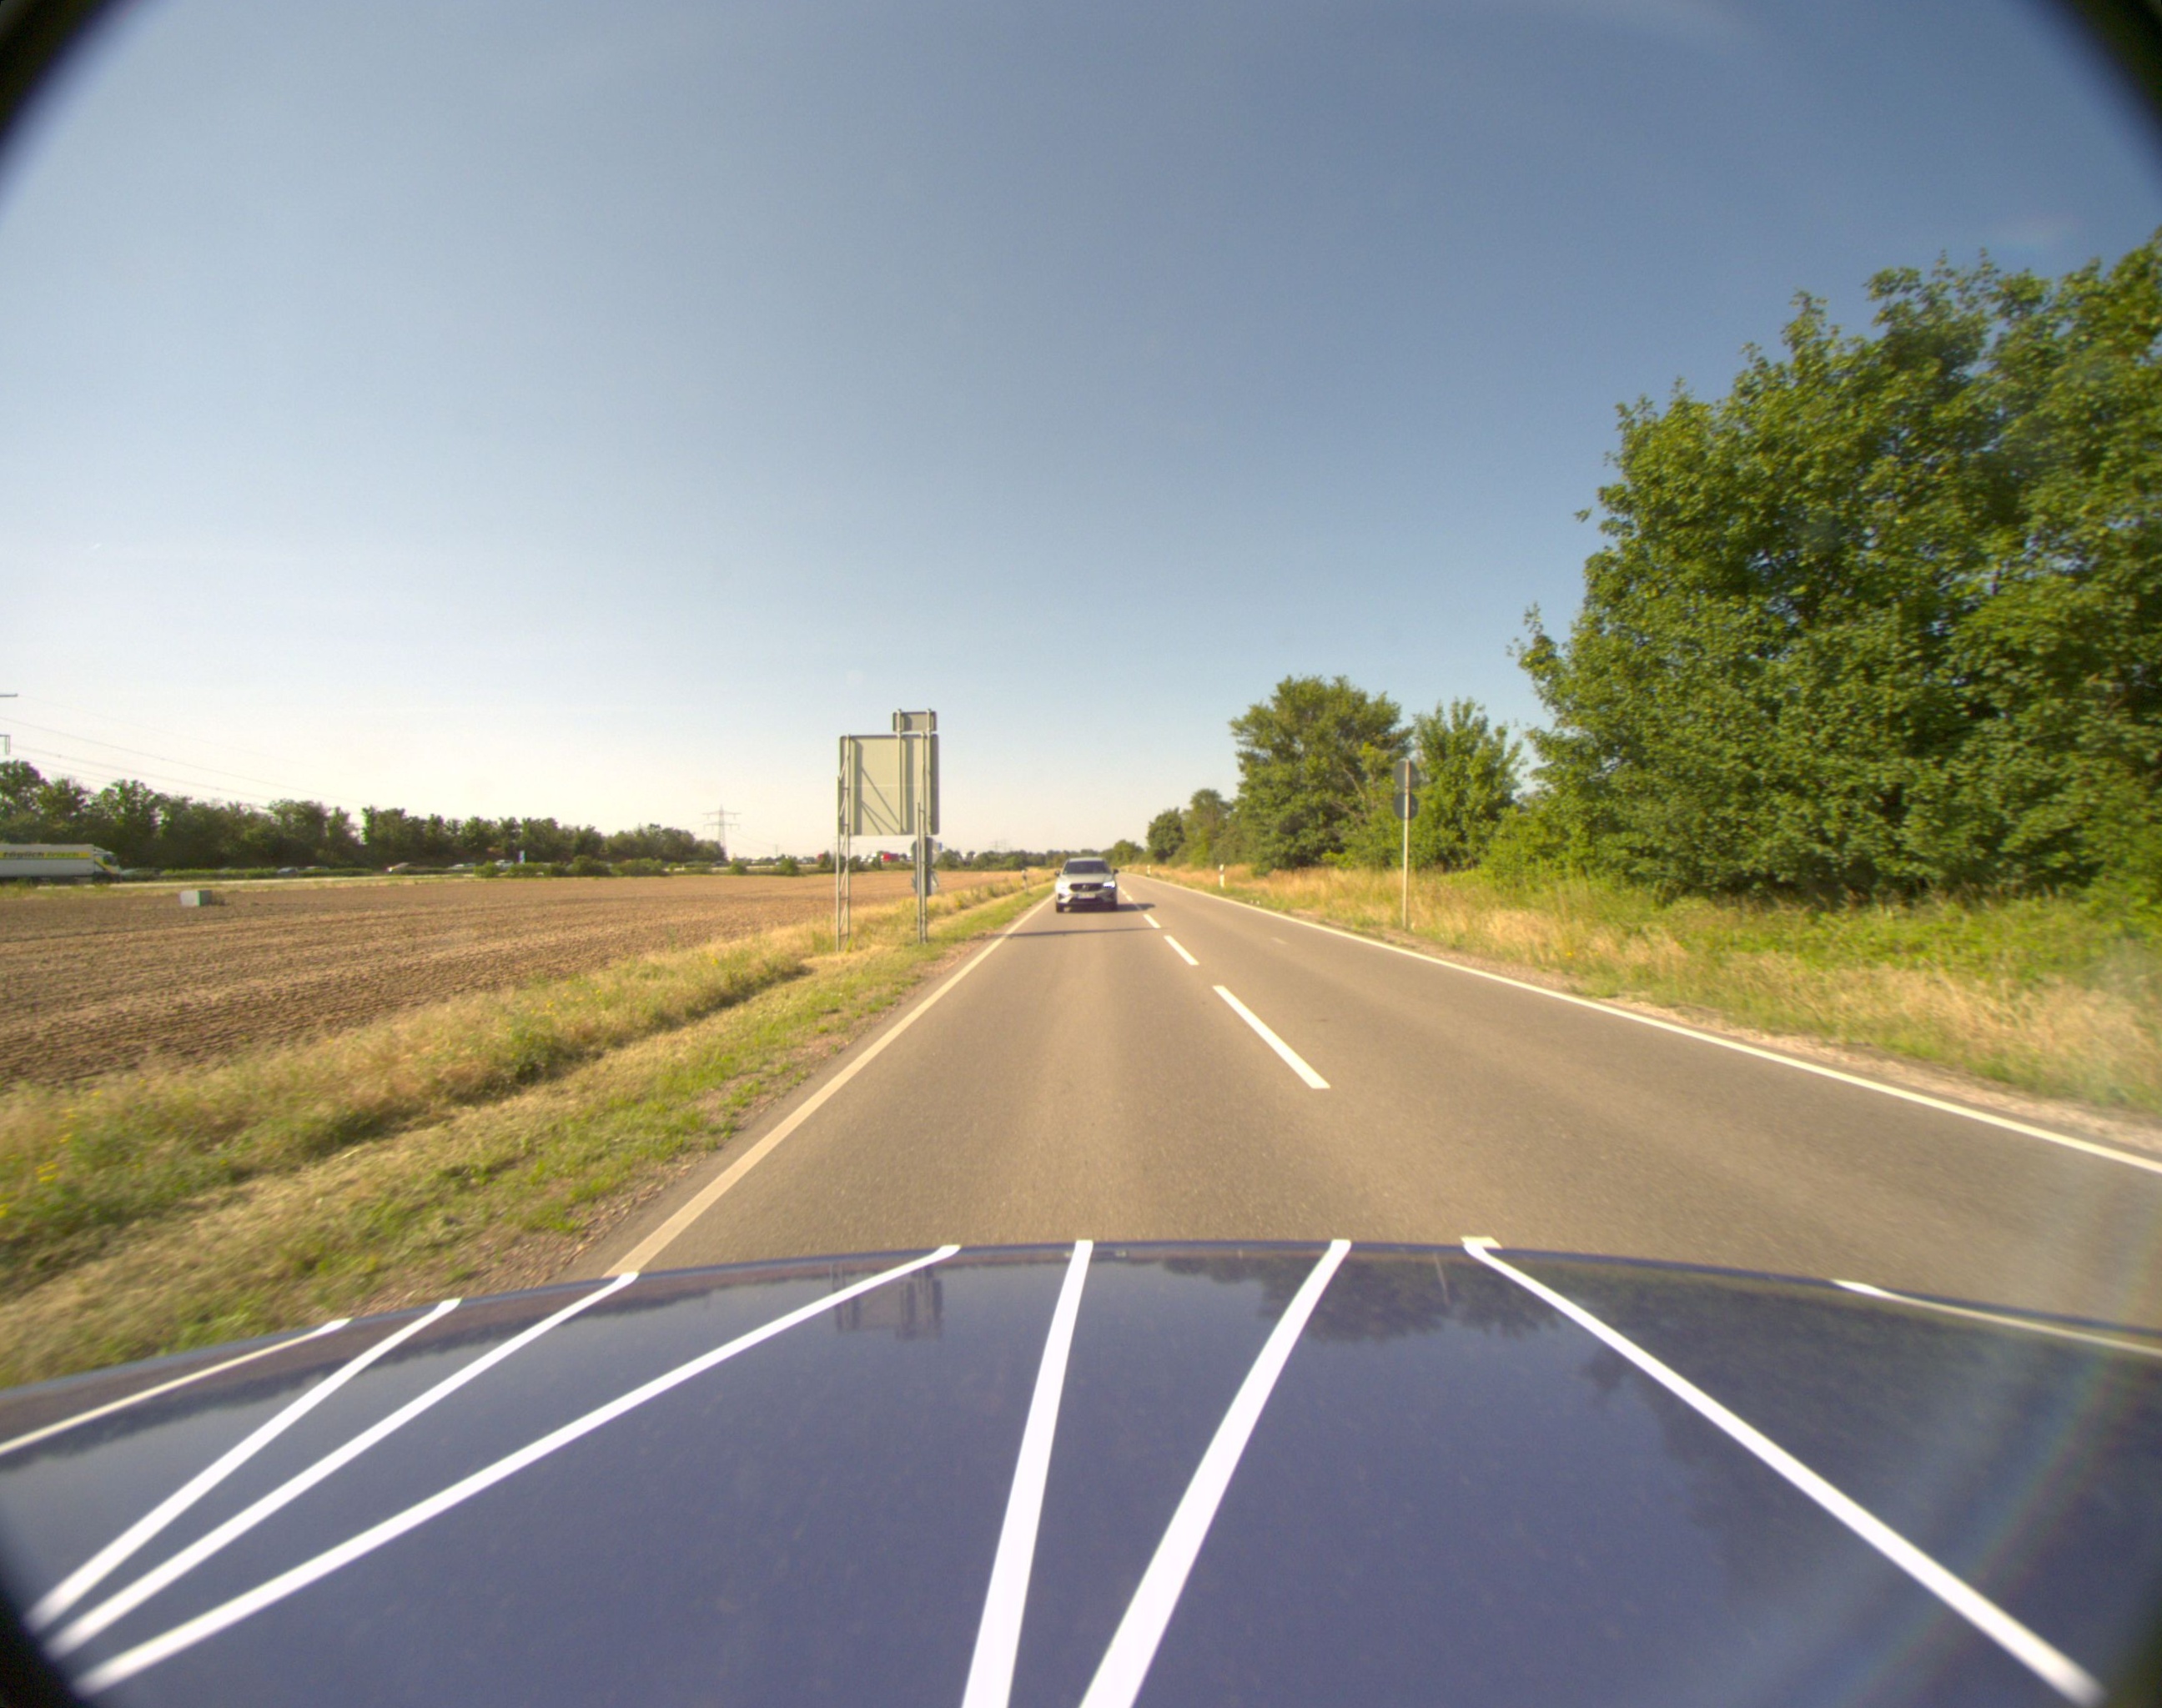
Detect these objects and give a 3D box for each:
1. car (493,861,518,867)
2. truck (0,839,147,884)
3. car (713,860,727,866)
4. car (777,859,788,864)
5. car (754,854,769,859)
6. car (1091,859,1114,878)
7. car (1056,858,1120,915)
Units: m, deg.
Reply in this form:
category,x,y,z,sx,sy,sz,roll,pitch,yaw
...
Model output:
category,x,y,z,sx,sy,sz,roll,pitch,yaw
car,-100.797,1.735,133.104,1.344,1.118,3.862,-1,0,0
truck,-83.970,0.599,61.592,2.813,3.457,11.119,-1,0,-1
car,-85.853,2.155,180.713,1.583,1.256,3.551,-2,0,1
car,-80.758,1.942,205.595,1.583,1.256,3.551,-2,0,1
car,-98.778,0.796,234.794,2.055,1.671,5.609,-1,0,2
car,1.891,1.253,66.787,1.840,1.627,4.135,-2,0,0
car,0.228,0.959,24.179,1.840,1.627,4.135,-2,0,1
